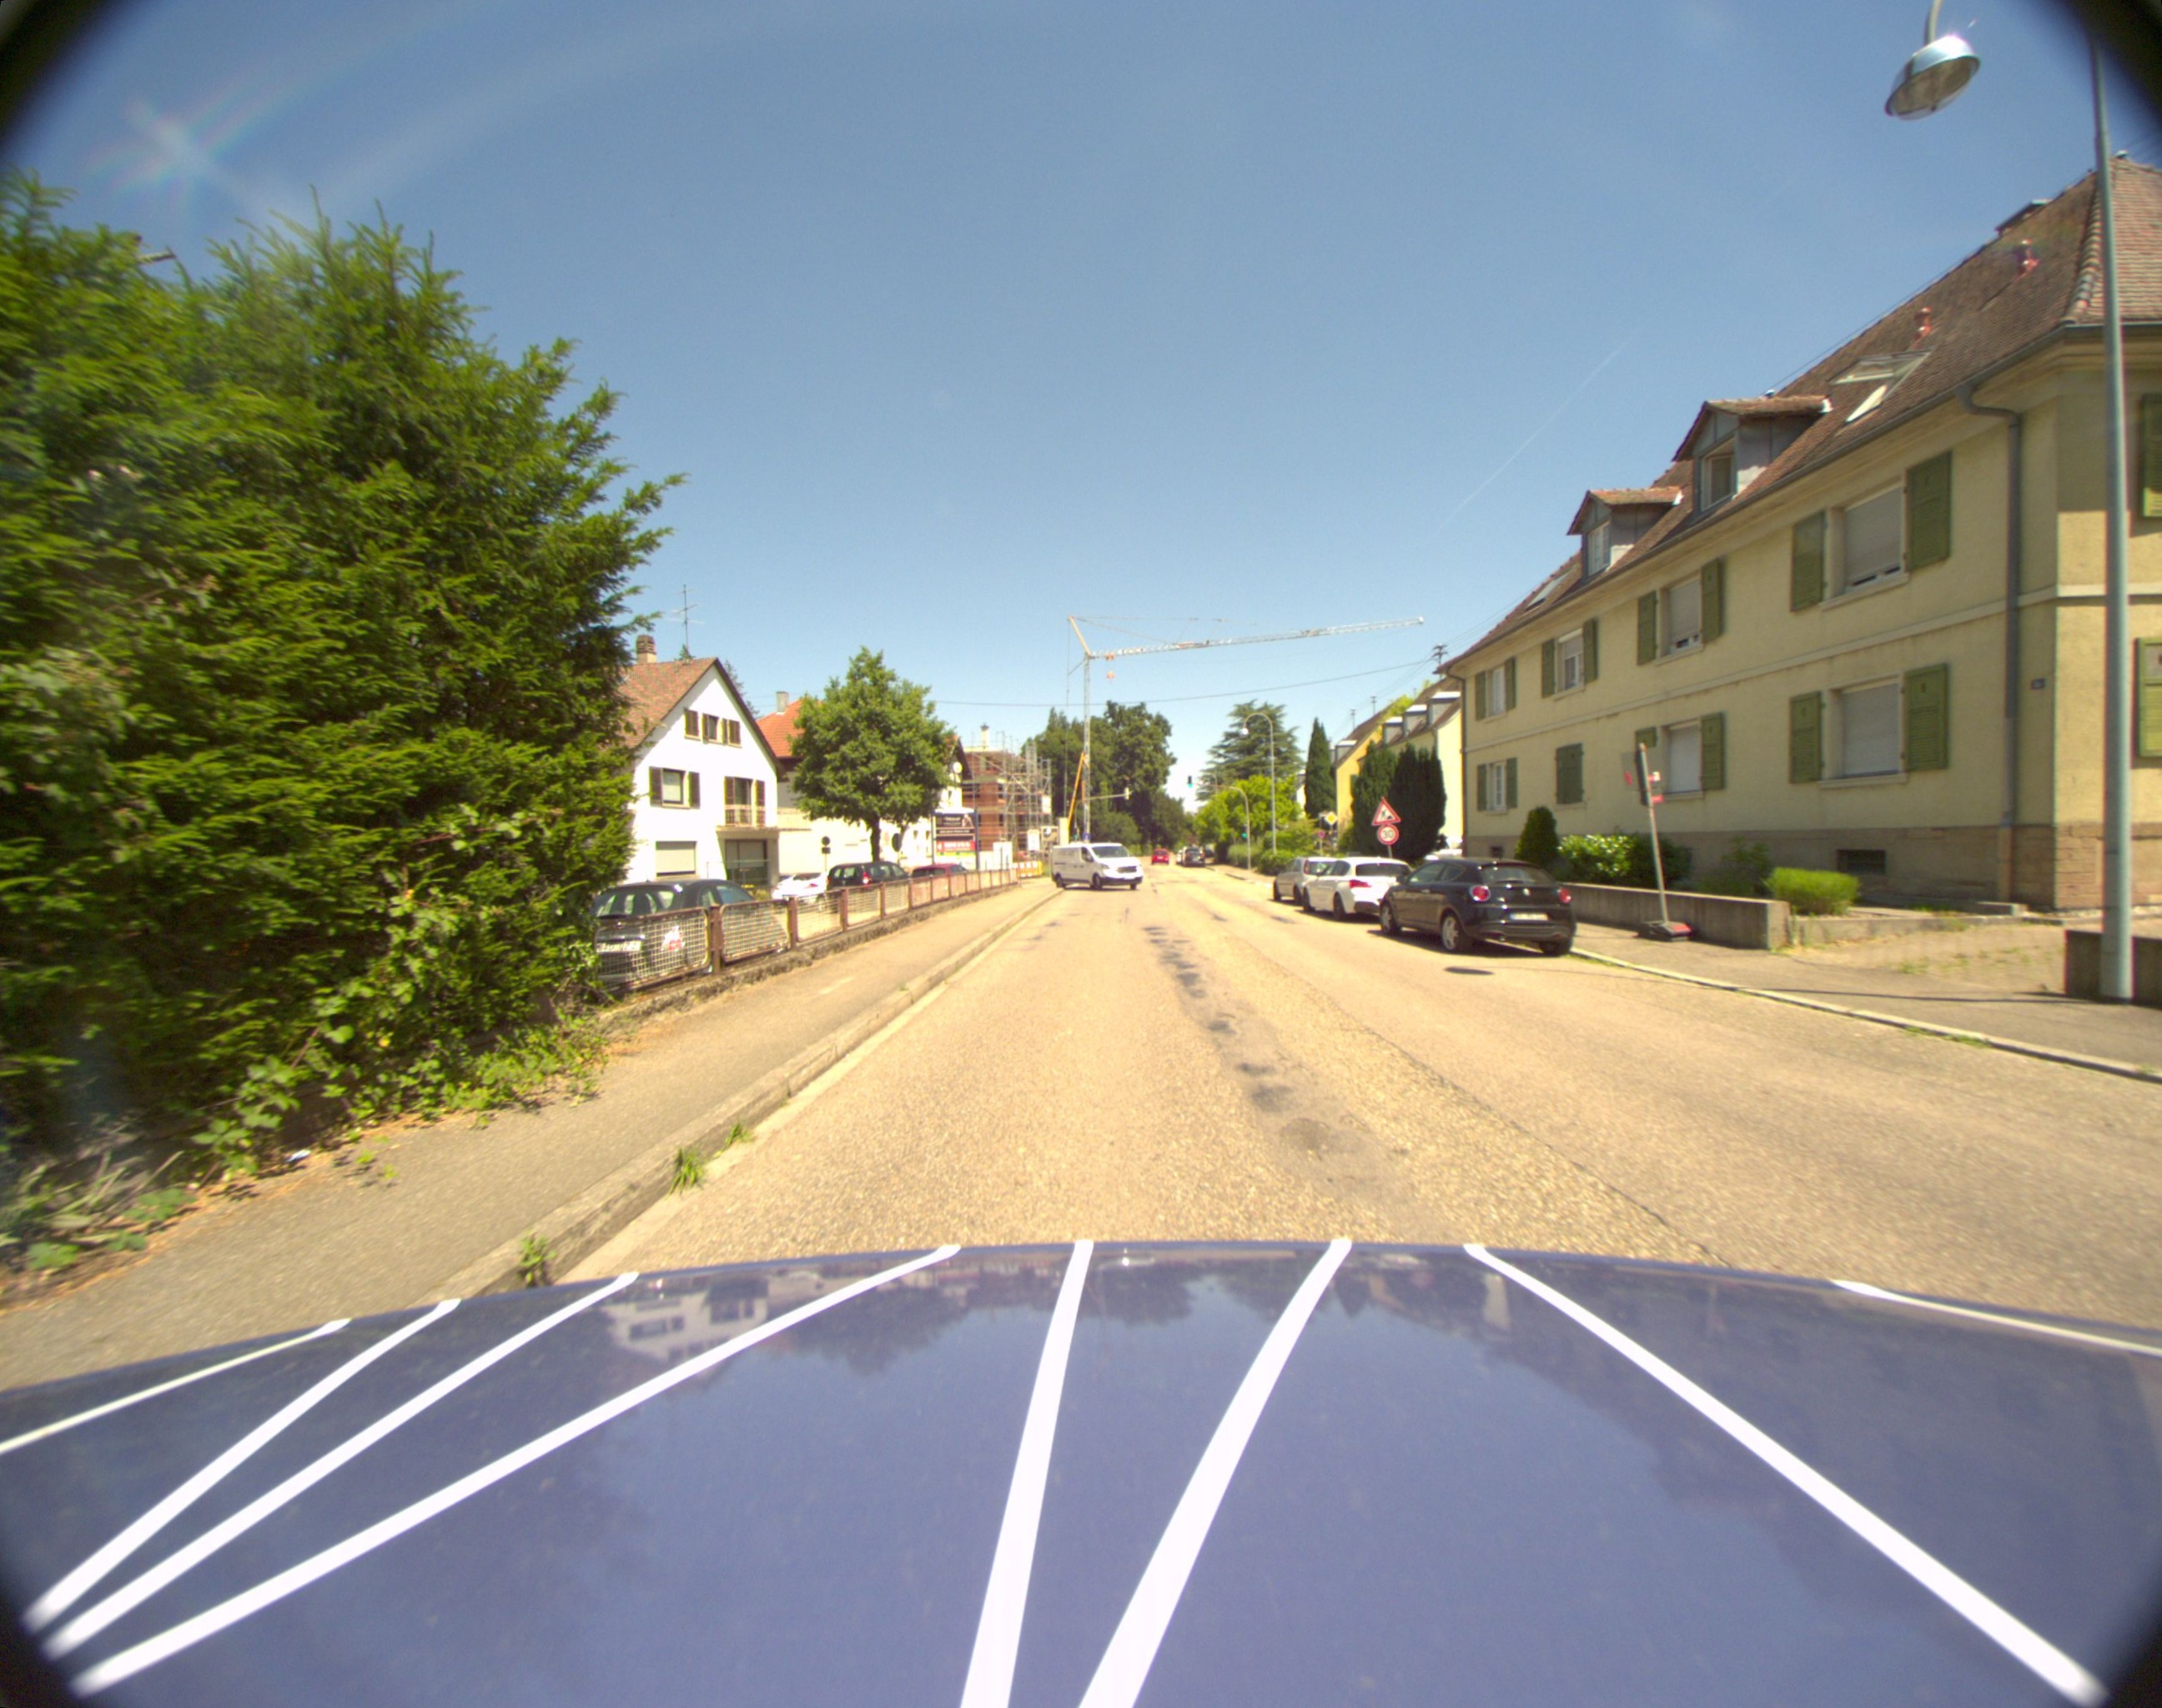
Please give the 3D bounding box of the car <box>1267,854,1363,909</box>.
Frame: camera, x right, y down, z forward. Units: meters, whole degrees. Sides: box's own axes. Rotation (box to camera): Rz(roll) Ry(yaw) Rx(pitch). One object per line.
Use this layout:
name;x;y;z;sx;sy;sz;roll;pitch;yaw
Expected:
car;6.973;0.763;23.006;1.763;1.439;3.924;0;1;1

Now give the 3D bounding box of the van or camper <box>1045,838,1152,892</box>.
van or camper;0.640;0.440;32.675;2.002;1.968;5.349;-5;3;-30

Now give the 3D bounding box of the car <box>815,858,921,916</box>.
car;-7.292;1.080;26.479;1.715;1.656;4.462;-3;1;10

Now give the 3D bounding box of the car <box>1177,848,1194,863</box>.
car;10.602;0.148;76.995;1.684;1.433;4.249;1;1;9

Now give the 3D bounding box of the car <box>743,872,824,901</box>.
car;-17.244;1.880;44.134;3.890;1.435;1.817;-3;0;11

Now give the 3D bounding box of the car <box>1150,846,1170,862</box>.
car;7.914;-0.018;76.277;1.818;1.557;3.696;0;1;3

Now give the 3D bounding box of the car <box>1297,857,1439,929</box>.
car;6.547;0.819;17.842;1.799;1.394;4.218;0;1;1

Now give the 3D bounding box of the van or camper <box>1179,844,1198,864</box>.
van or camper;10.075;-0.073;71.425;1.684;1.794;3.986;1;1;7

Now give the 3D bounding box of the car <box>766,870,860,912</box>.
car;-9.549;1.295;27.307;1.715;1.263;3.386;-2;1;9

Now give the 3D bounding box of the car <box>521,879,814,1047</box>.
car;-4.917;1.196;9.669;1.635;1.451;3.556;-5;1;0

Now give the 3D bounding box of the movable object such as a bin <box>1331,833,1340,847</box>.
movable object such as a bin;22.365;-1.231;66.779;0.622;1.190;0.674;-1;1;7

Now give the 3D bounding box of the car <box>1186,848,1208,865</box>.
car;10.123;0.175;66.471;1.684;1.404;3.927;0;1;5

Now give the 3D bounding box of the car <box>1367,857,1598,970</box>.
car;6.381;0.839;12.663;1.720;1.477;4.076;0;1;1

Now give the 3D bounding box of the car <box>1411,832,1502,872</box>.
car;16.835;-0.092;34.174;3.208;1.448;1.735;-5;1;10

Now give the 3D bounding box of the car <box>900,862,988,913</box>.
car;-4.624;1.088;26.280;1.714;1.515;3.842;-1;1;10

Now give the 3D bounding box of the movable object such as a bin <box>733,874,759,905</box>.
movable object such as a bin;-11.405;1.204;25.873;0.491;1.041;0.640;-1;1;10

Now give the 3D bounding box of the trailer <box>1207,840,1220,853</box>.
trailer;21.891;-1.253;125.568;1.816;2.022;4.004;1;1;14
